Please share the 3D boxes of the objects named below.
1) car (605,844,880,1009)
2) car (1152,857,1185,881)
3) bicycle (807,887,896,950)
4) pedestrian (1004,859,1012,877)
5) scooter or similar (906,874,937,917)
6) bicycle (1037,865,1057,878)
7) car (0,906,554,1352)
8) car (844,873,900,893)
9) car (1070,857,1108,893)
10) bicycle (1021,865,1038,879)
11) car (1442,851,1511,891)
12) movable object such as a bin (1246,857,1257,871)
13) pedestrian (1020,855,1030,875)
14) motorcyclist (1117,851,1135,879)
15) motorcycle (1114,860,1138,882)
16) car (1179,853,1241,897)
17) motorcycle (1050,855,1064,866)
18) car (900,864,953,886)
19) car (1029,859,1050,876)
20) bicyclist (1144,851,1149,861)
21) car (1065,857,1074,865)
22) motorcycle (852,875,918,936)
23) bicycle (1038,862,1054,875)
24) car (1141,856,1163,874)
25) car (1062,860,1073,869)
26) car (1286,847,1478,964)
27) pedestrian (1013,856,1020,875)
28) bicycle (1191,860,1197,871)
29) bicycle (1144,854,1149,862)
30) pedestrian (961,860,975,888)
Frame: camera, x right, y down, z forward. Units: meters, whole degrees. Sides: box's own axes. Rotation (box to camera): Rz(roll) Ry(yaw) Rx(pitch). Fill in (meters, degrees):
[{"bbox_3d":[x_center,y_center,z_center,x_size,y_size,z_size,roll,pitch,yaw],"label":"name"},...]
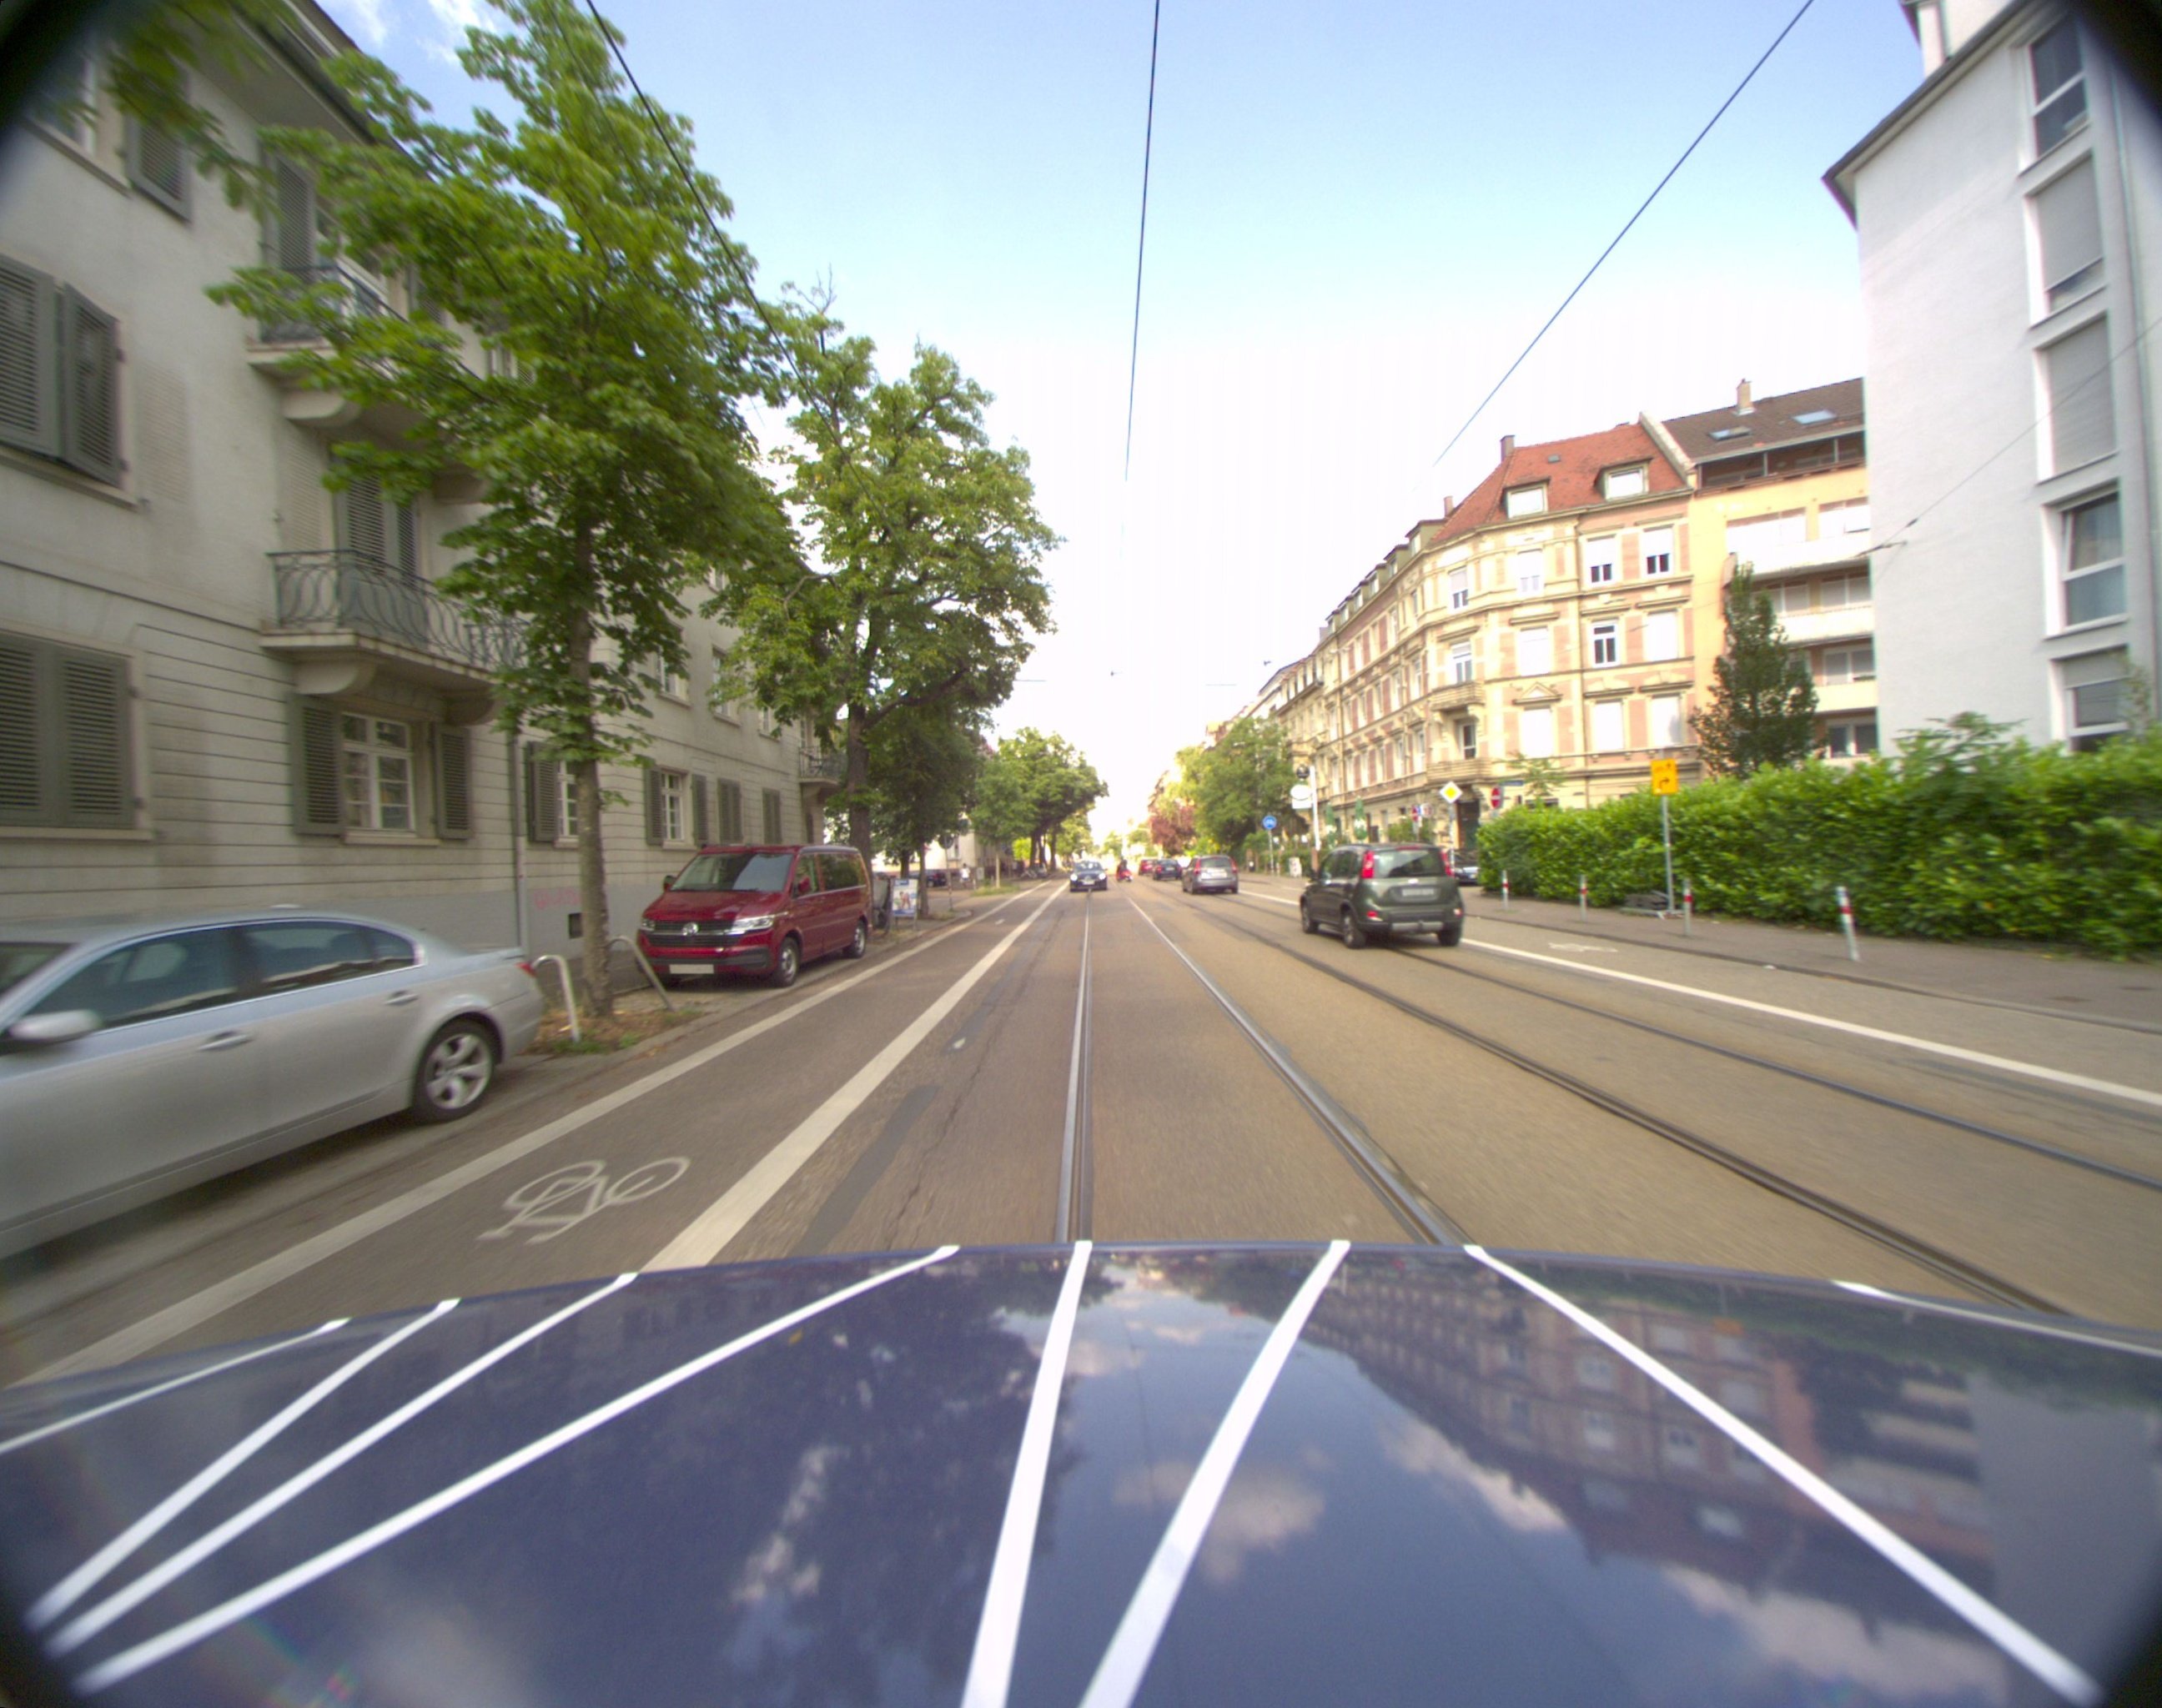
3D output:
[{"bbox_3d":[-4.767,0.888,11.713,1.900,1.929,4.950,-2,0,1],"label":"car"},{"bbox_3d":[5.564,0.910,48.834,1.632,1.399,4.129,-3,0,1],"label":"car"},{"bbox_3d":[-4.788,1.339,15.916,1.614,1.196,0.589,-3,1,-2],"label":"bicycle"},{"bbox_3d":[-7.110,1.348,73.821,0.582,1.630,0.976,-3,0,1],"label":"pedestrian"},{"bbox_3d":[-5.064,1.301,24.254,0.533,1.244,1.720,-2,0,2],"label":"scooter or similar"},{"bbox_3d":[-2.999,1.494,66.165,1.650,1.064,0.348,-3,0,5],"label":"bicycle"},{"bbox_3d":[-4.973,1.179,3.455,1.711,1.489,4.789,-2,0,1],"label":"car"},{"bbox_3d":[-16.819,2.327,61.090,4.246,1.443,1.734,-3,0,28],"label":"car"},{"bbox_3d":[0.438,0.980,37.416,1.693,1.567,4.157,-3,0,1],"label":"car"},{"bbox_3d":[-4.155,1.446,61.014,1.271,1.060,0.478,-3,0,0],"label":"bicycle"},{"bbox_3d":[15.918,0.638,30.828,1.889,1.356,4.969,-3,0,21],"label":"car"},{"bbox_3d":[11.883,0.705,52.956,0.580,0.919,0.641,-3,0,1],"label":"movable object such as a bin"},{"bbox_3d":[-5.456,1.094,74.347,0.755,1.878,0.886,-3,0,1],"label":"pedestrian"},{"bbox_3d":[2.831,0.684,47.503,0.742,1.704,0.920,-3,0,-19],"label":"motorcyclist"},{"bbox_3d":[2.823,1.050,47.576,0.742,1.352,2.085,-3,0,-18],"label":"motorcycle"},{"bbox_3d":[4.956,0.750,29.669,1.731,1.531,4.277,-2,0,1],"label":"car"},{"bbox_3d":[-3.458,0.962,110.745,0.812,1.485,2.065,-3,0,-43],"label":"motorcycle"},{"bbox_3d":[-11.857,1.607,58.308,3.566,1.443,1.734,-3,0,24],"label":"car"},{"bbox_3d":[-3.849,1.217,70.841,1.589,1.436,3.898,-3,0,1],"label":"car"},{"bbox_3d":[9.141,0.246,105.842,0.566,1.417,0.942,-3,0,3],"label":"bicyclist"},{"bbox_3d":[-2.372,1.375,155.118,1.693,1.537,3.618,-3,0,0],"label":"car"},{"bbox_3d":[-4.822,1.228,18.894,0.859,1.314,2.445,-3,0,2],"label":"motorcycle"},{"bbox_3d":[-3.465,1.440,75.170,1.490,1.213,0.518,-3,1,7],"label":"bicycle"},{"bbox_3d":[5.870,0.879,63.338,1.598,1.432,3.937,-1,0,3],"label":"car"},{"bbox_3d":[-2.272,1.705,126.464,1.693,1.380,4.000,-3,0,0],"label":"car"},{"bbox_3d":[4.677,0.717,12.421,1.635,1.547,3.822,-2,0,1],"label":"car"},{"bbox_3d":[-6.350,1.148,74.384,0.506,1.841,0.687,-3,0,1],"label":"pedestrian"},{"bbox_3d":[12.094,1.181,81.347,0.413,1.130,1.819,-3,0,1],"label":"bicycle"},{"bbox_3d":[9.157,0.536,105.856,0.570,0.983,1.918,-3,0,3],"label":"bicycle"},{"bbox_3d":[-7.442,1.319,49.970,0.619,1.823,1.031,-3,0,5],"label":"pedestrian"}]
